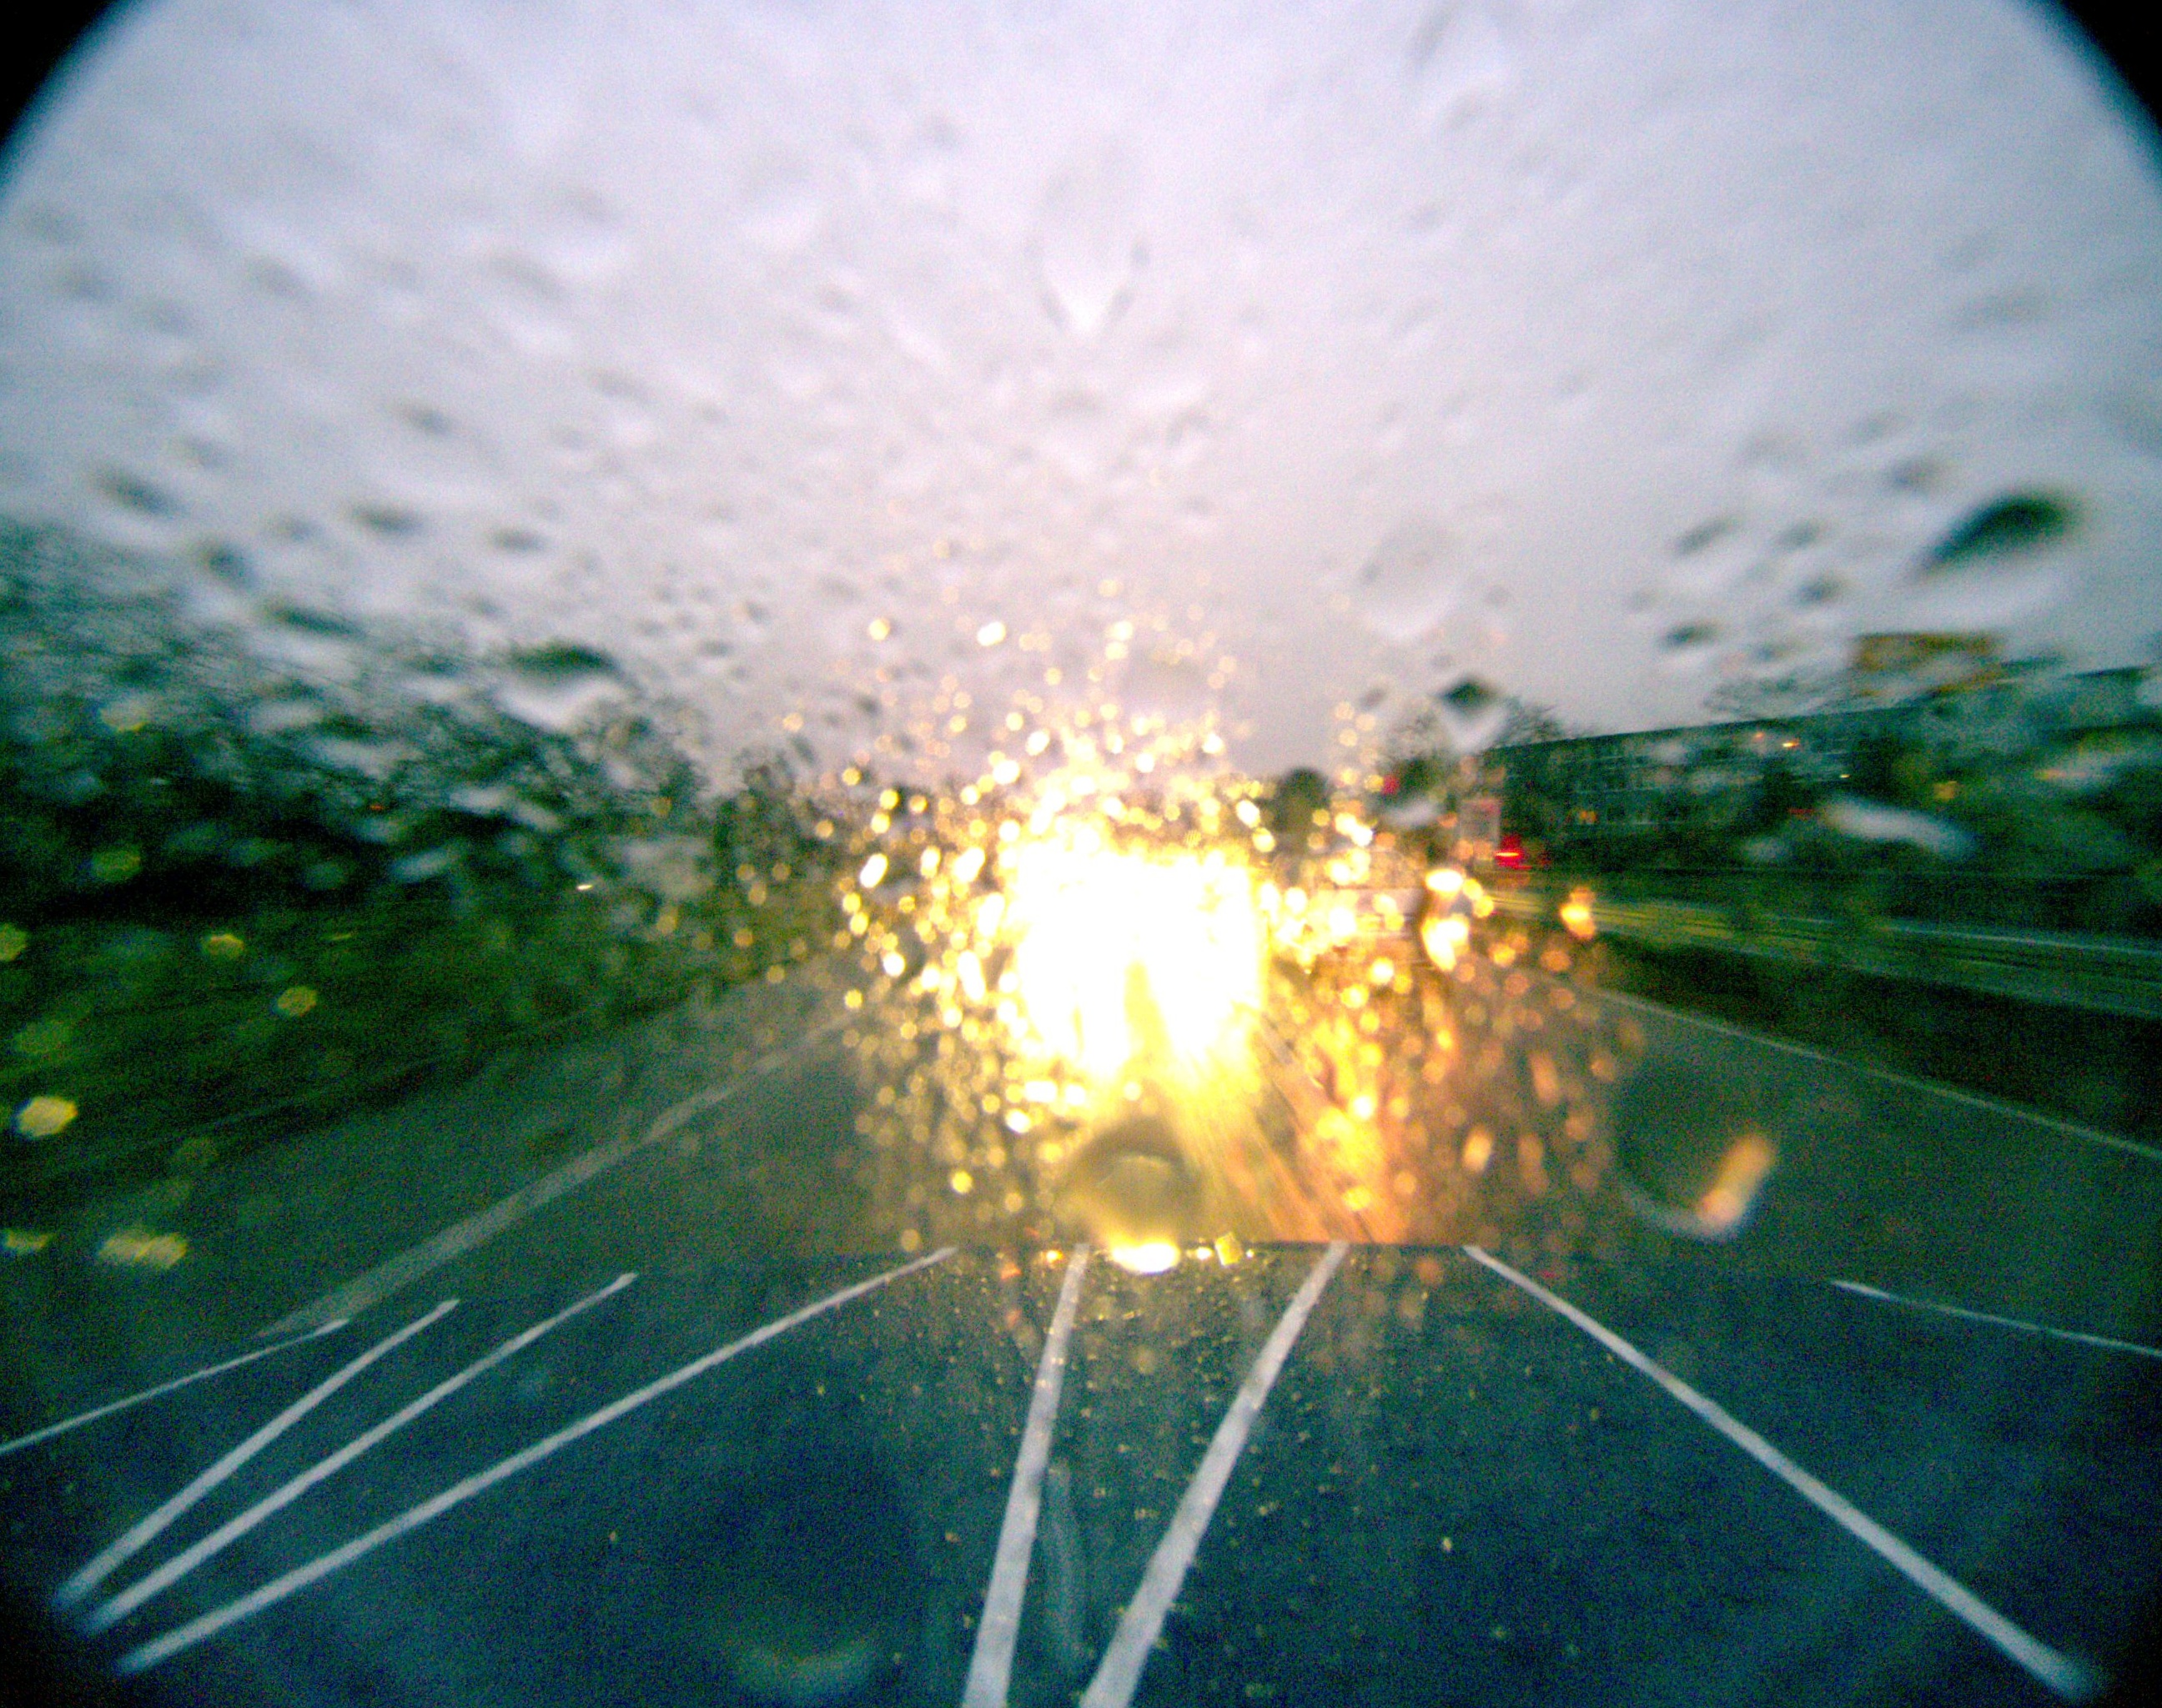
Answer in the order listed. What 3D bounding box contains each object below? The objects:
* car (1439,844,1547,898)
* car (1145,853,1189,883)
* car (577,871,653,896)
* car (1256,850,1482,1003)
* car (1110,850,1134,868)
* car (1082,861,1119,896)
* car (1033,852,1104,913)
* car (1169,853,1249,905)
[{"bbox_3d":[16.263,0.624,30.288,1.998,1.907,4.286,-2,0,1],"label":"car"},{"bbox_3d":[4.277,0.646,38.146,1.697,1.327,3.999,-2,1,0],"label":"car"},{"bbox_3d":[-30.148,1.893,49.212,1.724,1.426,3.798,0,1,43],"label":"car"},{"bbox_3d":[3.520,0.764,10.137,1.765,1.590,4.166,-1,1,5],"label":"car"},{"bbox_3d":[3.941,0.414,73.530,1.853,1.610,3.949,-2,1,-4],"label":"car"},{"bbox_3d":[0.992,1.175,37.848,1.728,1.573,3.791,-1,1,2],"label":"car"},{"bbox_3d":[-0.276,0.743,21.700,1.830,1.524,4.000,-1,1,1],"label":"car"},{"bbox_3d":[4.119,0.749,25.109,2.026,1.521,4.145,-1,1,1],"label":"car"}]
